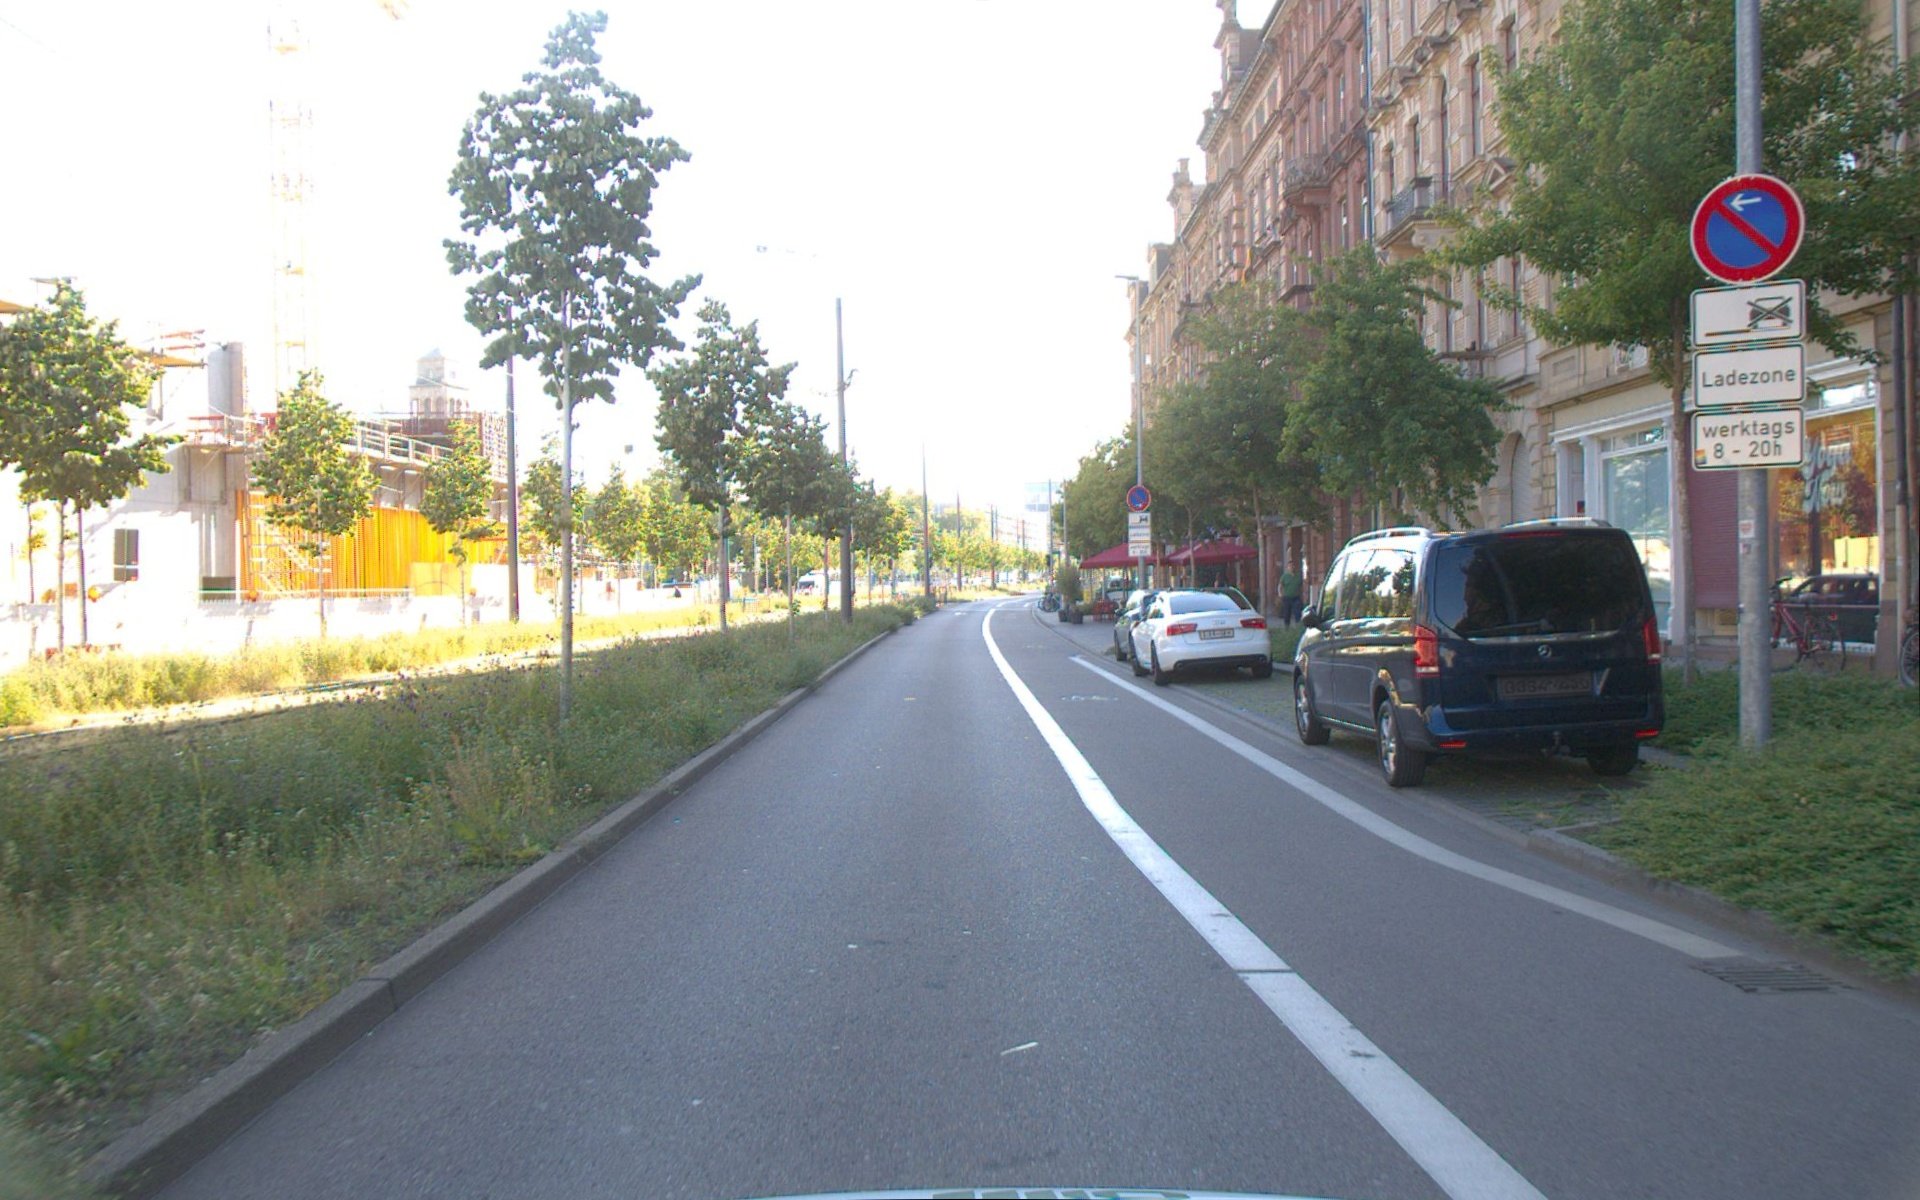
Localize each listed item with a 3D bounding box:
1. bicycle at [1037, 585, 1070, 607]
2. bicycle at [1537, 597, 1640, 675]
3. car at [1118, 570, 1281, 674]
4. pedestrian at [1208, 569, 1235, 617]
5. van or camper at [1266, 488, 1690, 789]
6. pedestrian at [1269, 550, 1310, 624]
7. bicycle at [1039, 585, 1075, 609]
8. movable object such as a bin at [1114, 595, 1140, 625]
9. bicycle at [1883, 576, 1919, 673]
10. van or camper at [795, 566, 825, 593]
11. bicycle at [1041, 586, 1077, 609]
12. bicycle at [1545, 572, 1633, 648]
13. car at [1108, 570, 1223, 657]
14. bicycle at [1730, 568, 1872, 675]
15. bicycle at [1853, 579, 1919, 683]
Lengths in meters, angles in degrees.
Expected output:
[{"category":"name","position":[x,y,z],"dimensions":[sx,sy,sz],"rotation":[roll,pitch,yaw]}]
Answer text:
[{"category":"bicycle","position":[5.159,-0.215,91.392],"dimensions":[1.717,1.123,0.507],"rotation":[-4,0,6]},{"category":"bicycle","position":[7.835,0.430,20.697],"dimensions":[0.641,0.932,1.682],"rotation":[0,0,0]},{"category":"car","position":[3.890,0.307,27.719],"dimensions":[1.811,1.479,5.251],"rotation":[-3,1,-1]},{"category":"pedestrian","position":[8.746,-0.238,55.334],"dimensions":[0.713,1.560,0.797],"rotation":[-3,0,0]},{"category":"van or camper","position":[4.135,0.235,14.328],"dimensions":[1.921,2.006,5.488],"rotation":[-3,1,1]},{"category":"pedestrian","position":[8.125,-0.328,40.835],"dimensions":[0.732,1.785,1.072],"rotation":[-2,0,0]},{"category":"bicycle","position":[5.094,-0.156,87.014],"dimensions":[1.805,1.123,0.566],"rotation":[-4,0,6]},{"category":"movable object such as a bin","position":[5.489,0.321,54.363],"dimensions":[0.661,0.940,0.560],"rotation":[-4,-1,20]},{"category":"bicycle","position":[10.545,0.264,17.557],"dimensions":[0.336,1.051,2.072],"rotation":[0,0,0]},{"category":"van or camper","position":[-15.203,-2.126,168.079],"dimensions":[2.176,2.553,7.201],"rotation":[-3,1,0]},{"category":"bicycle","position":[5.092,-0.116,85.348],"dimensions":[1.767,1.065,0.566],"rotation":[-4,0,6]},{"category":"bicycle","position":[10.405,0.152,27.425],"dimensions":[0.704,1.216,1.772],"rotation":[-1,0,-3]},{"category":"car","position":[4.163,0.230,34.055],"dimensions":[1.811,1.591,4.297],"rotation":[-3,1,1]},{"category":"bicycle","position":[10.319,0.246,20.376],"dimensions":[0.690,1.241,2.072],"rotation":[0,0,0]},{"category":"bicycle","position":[10.205,0.323,17.553],"dimensions":[0.317,1.083,2.072],"rotation":[0,0,0]}]
